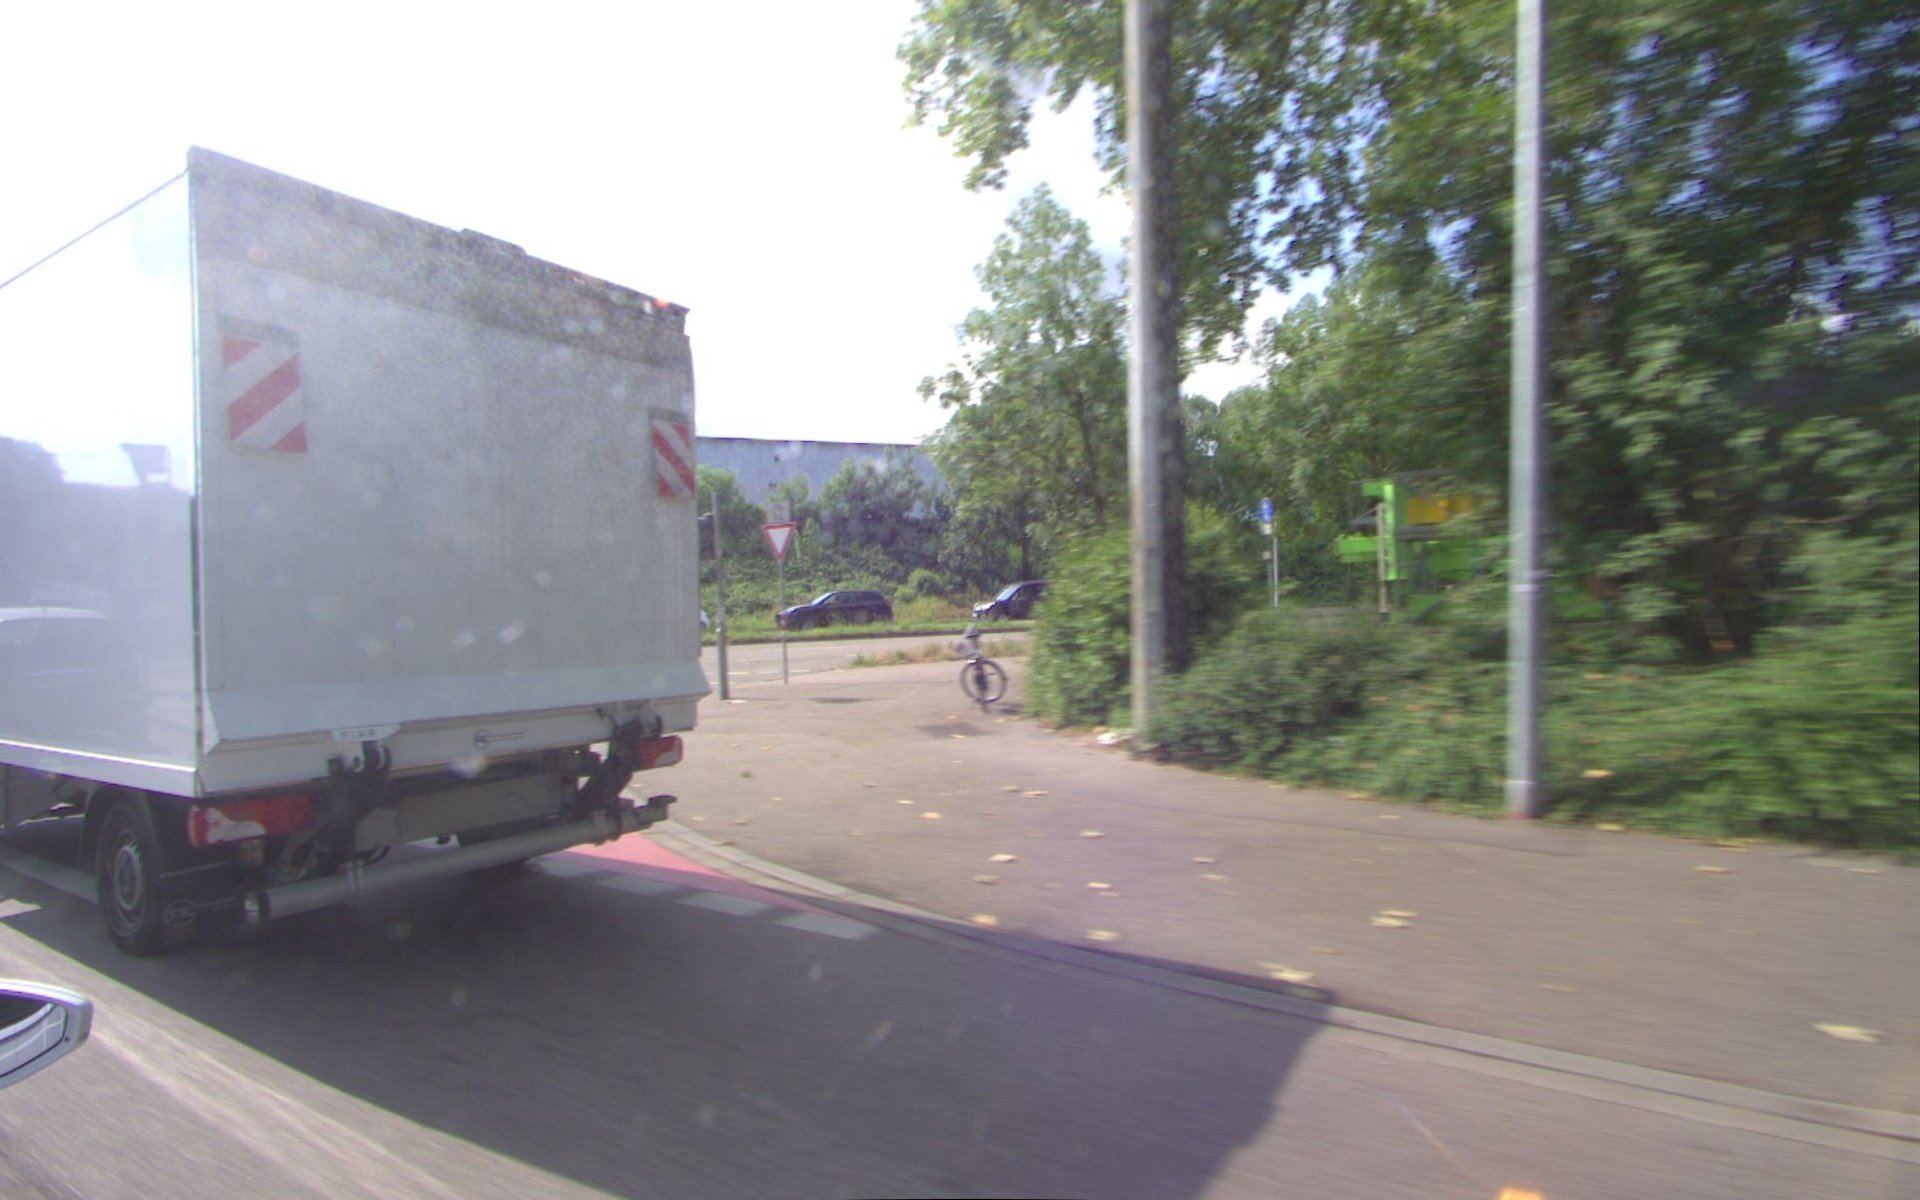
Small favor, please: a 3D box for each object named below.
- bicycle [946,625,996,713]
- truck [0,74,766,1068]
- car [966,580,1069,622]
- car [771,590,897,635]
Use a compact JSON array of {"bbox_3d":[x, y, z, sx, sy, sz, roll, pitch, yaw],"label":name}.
[{"bbox_3d":[0.165,0.866,13.077,0.518,1.056,1.637,-1,0,5],"label":"bicycle"},{"bbox_3d":[-4.155,-0.017,5.884,5.946,3.162,2.441,-1,-1,34],"label":"truck"},{"bbox_3d":[2.477,0.023,43.250,4.136,1.656,1.638,-2,1,-22],"label":"car"},{"bbox_3d":[-5.100,0.484,40.515,4.720,1.665,1.816,-2,1,-19],"label":"car"}]
